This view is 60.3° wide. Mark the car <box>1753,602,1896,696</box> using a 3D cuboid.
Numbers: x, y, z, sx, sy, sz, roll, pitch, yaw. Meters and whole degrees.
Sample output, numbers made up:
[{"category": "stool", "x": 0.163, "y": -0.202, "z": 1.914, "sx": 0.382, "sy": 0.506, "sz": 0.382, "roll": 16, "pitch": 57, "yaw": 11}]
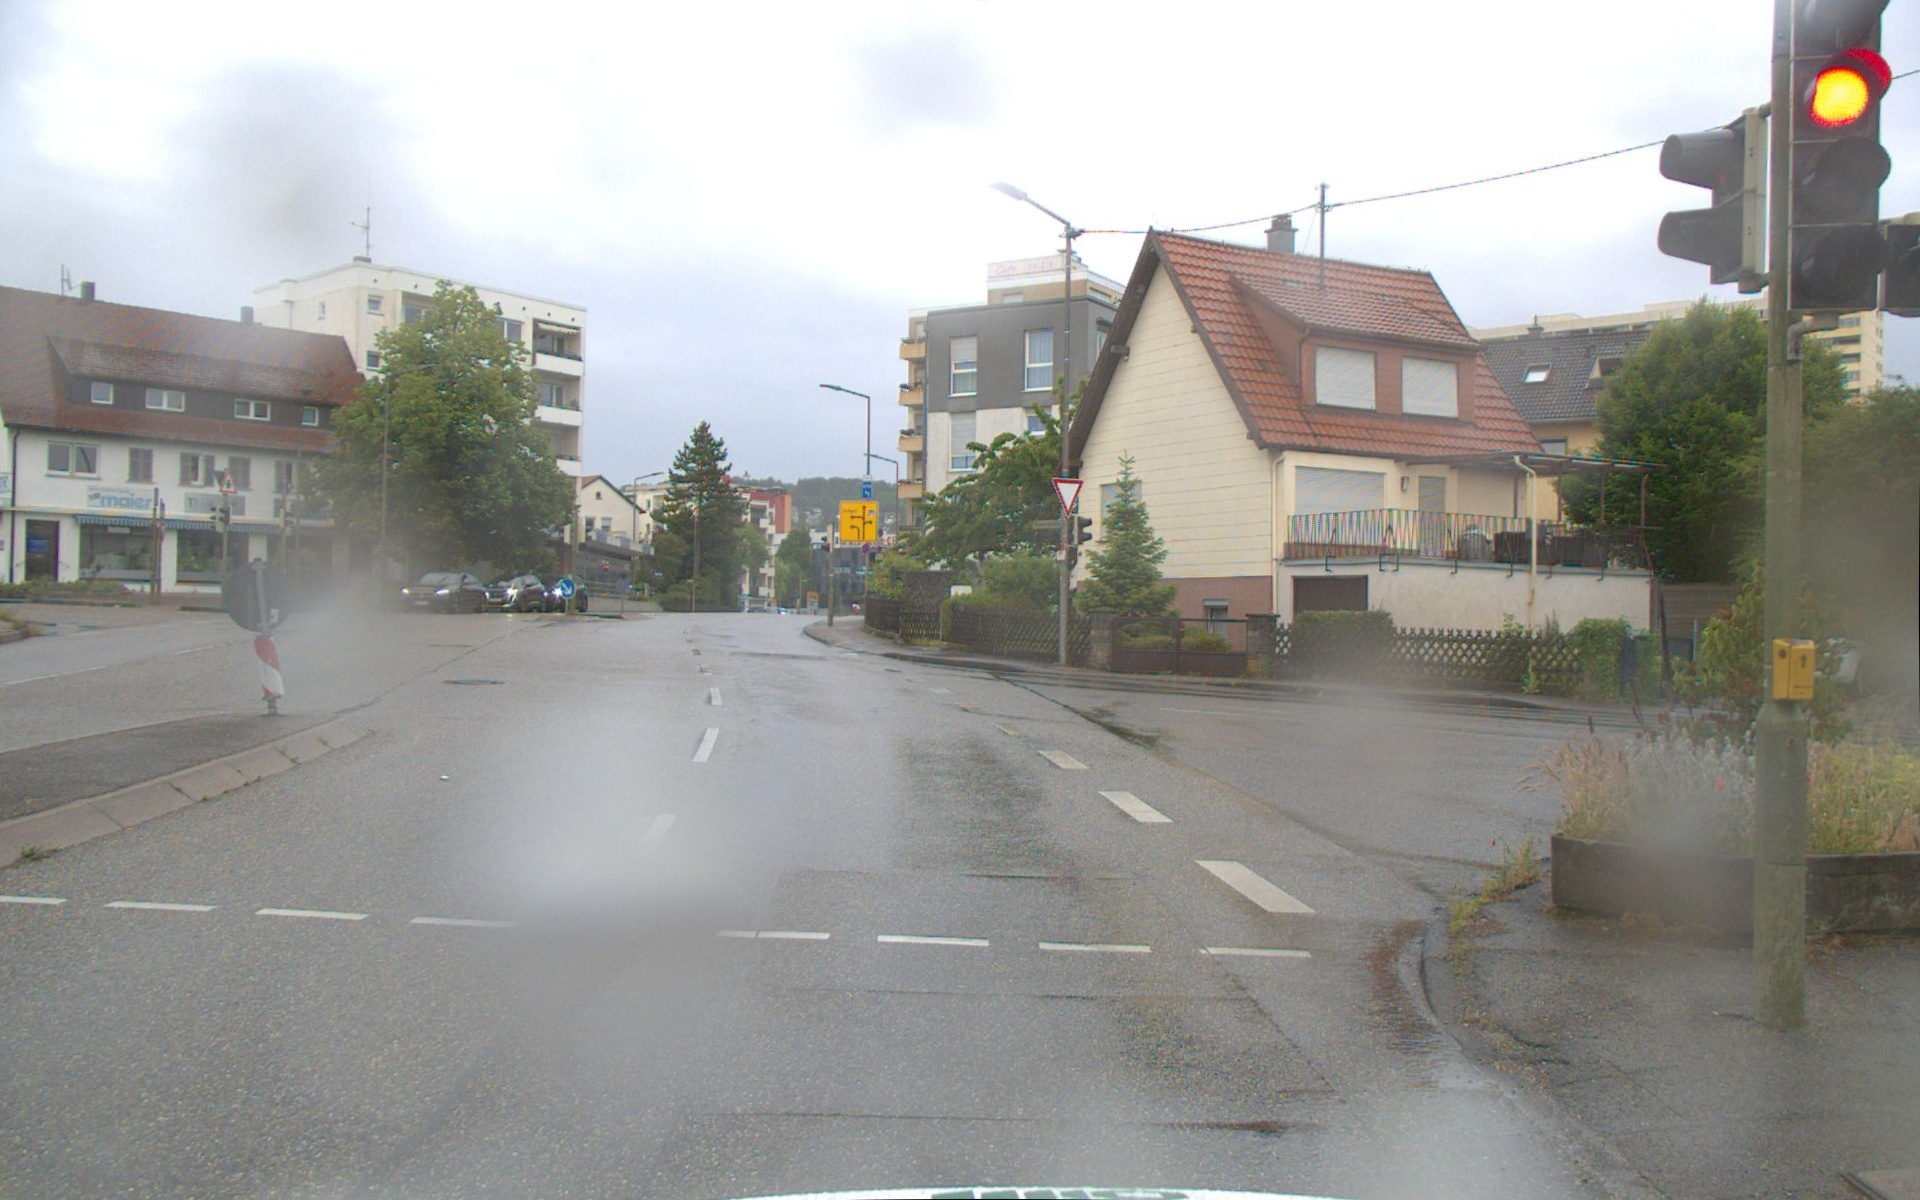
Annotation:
[{"category": "car", "x": 15.617, "y": 0.823, "z": 29.788, "sx": 1.710, "sy": 1.541, "sz": 3.985, "roll": 1, "pitch": 1, "yaw": 36}]

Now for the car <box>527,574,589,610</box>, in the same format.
[{"category": "car", "x": -17.264, "y": -0.361, "z": 71.141, "sx": 1.742, "sy": 1.445, "sz": 3.830, "roll": 1, "pitch": 1, "yaw": -1}]

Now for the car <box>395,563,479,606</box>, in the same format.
[{"category": "car", "x": -18.253, "y": -0.548, "z": 57.906, "sx": 1.742, "sy": 1.445, "sz": 3.830, "roll": 1, "pitch": 1, "yaw": -1}]

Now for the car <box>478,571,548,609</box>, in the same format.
[{"category": "car", "x": -17.610, "y": -0.402, "z": 65.292, "sx": 1.680, "sy": 1.411, "sz": 4.020, "roll": 1, "pitch": 1, "yaw": -1}]
